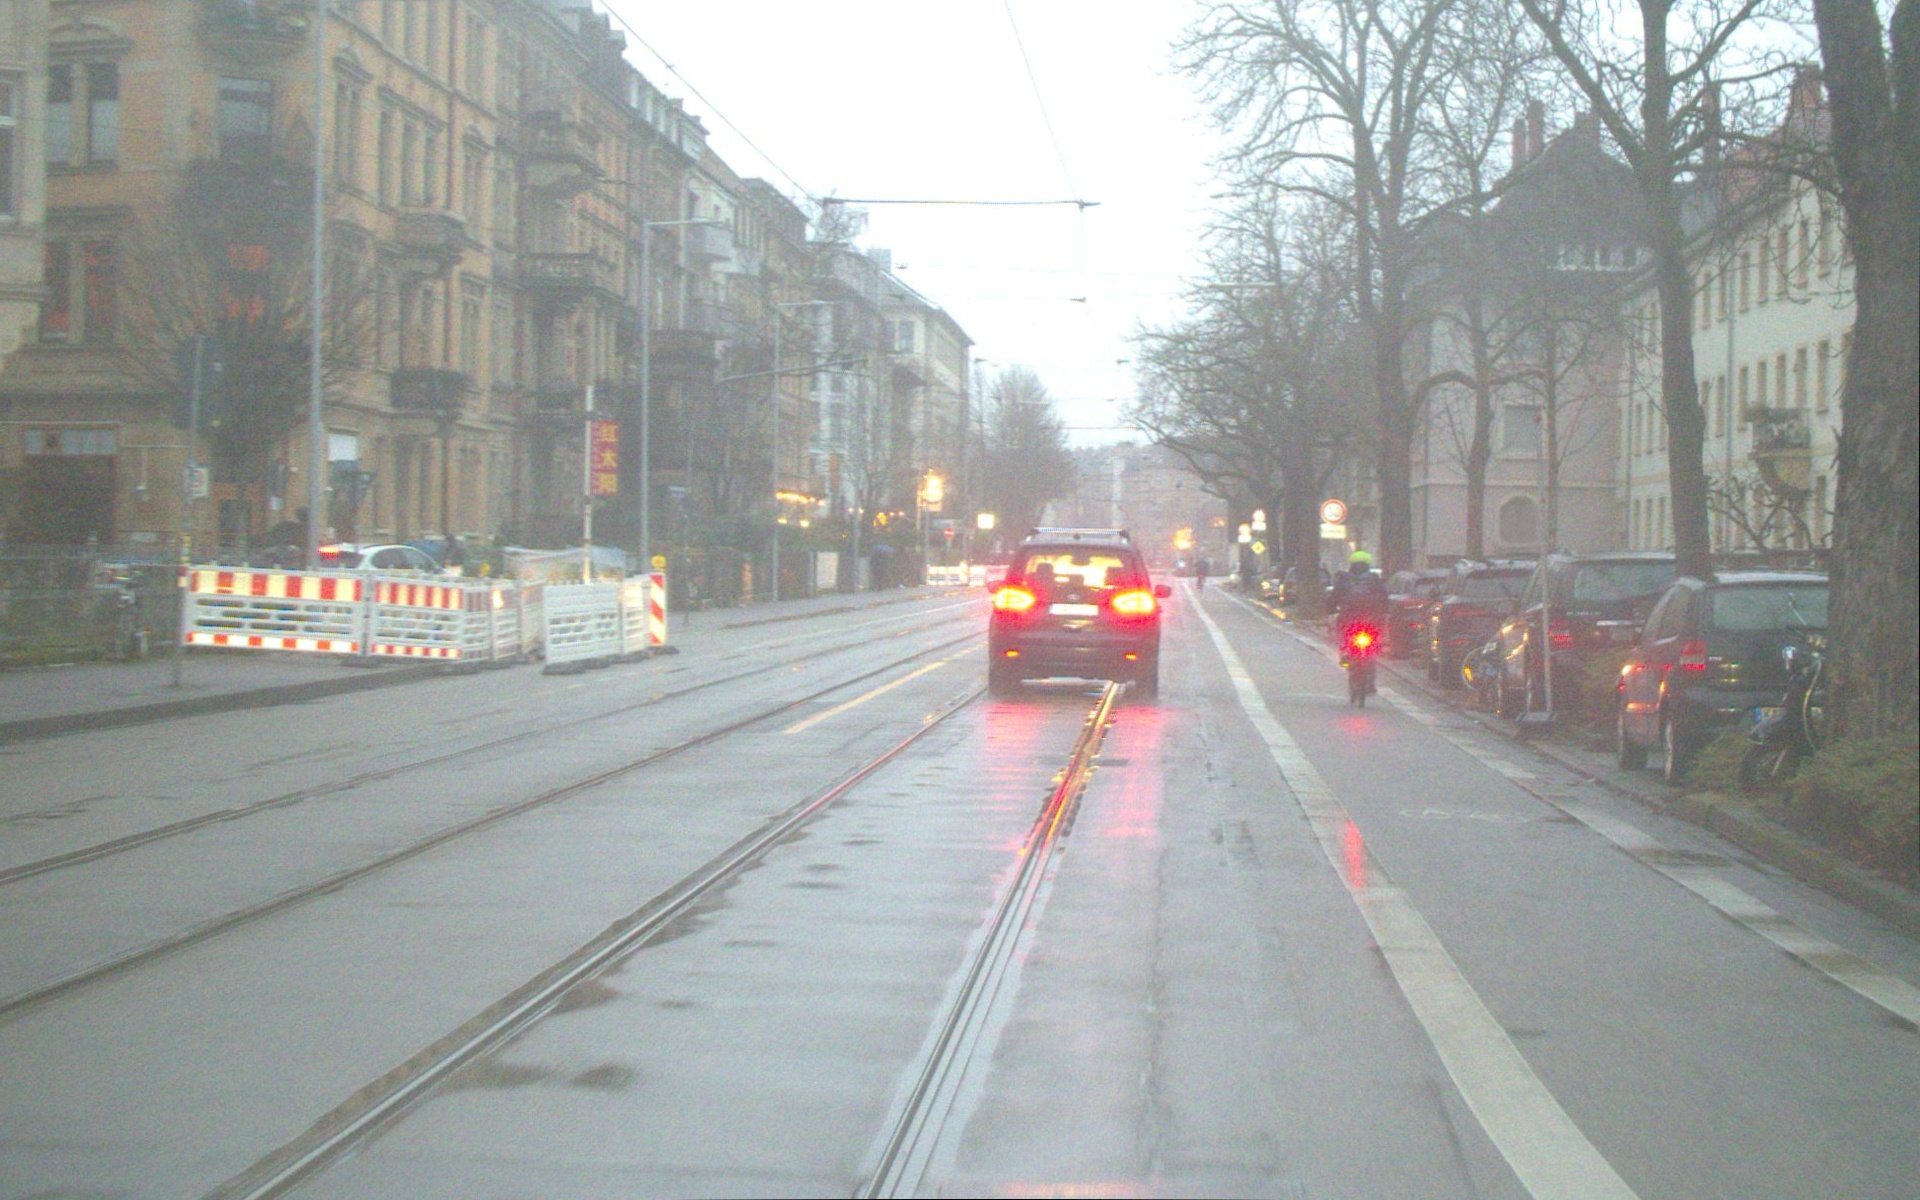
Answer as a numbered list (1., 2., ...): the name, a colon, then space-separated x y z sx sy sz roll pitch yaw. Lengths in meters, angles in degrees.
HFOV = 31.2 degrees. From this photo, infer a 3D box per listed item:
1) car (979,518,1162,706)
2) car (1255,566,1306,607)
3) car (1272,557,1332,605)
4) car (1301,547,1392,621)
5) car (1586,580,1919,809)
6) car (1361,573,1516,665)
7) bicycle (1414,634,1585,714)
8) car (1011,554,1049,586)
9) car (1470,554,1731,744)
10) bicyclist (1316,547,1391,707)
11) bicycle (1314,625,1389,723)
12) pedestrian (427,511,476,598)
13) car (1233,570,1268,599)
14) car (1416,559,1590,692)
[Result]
1. car: 1.269 0.104 38.525 1.802 1.864 4.018 5 1 3
2. car: 12.109 -0.521 130.113 1.785 1.504 4.108 2 1 4
3. car: 11.134 -0.634 112.111 1.785 1.504 4.108 2 1 4
4. car: 8.363 -0.365 74.627 1.786 1.504 4.108 2 1 5
5. car: 5.856 0.641 25.677 1.785 1.504 3.987 2 1 3
6. car: 7.767 0.277 56.154 1.879 1.415 4.344 0 1 -1
7. bicycle: 6.550 0.890 41.741 2.014 0.913 0.464 1 1 13
8. car: 3.957 -1.686 193.221 1.924 1.714 4.000 2 1 3
9. car: 6.371 0.435 34.691 1.906 1.721 4.902 2 1 3
10. bicyclist: 4.342 0.293 37.953 0.730 1.730 0.765 2 0 5
11. bicycle: 4.314 0.803 37.937 0.731 1.003 1.763 2 1 5
12. pedestrian: -10.531 -0.946 71.248 0.718 1.767 0.770 1 1 -31
13. car: 15.933 -0.842 188.756 1.785 1.504 4.108 2 1 4
14. car: 7.099 0.296 45.313 1.906 1.604 4.560 2 1 5
